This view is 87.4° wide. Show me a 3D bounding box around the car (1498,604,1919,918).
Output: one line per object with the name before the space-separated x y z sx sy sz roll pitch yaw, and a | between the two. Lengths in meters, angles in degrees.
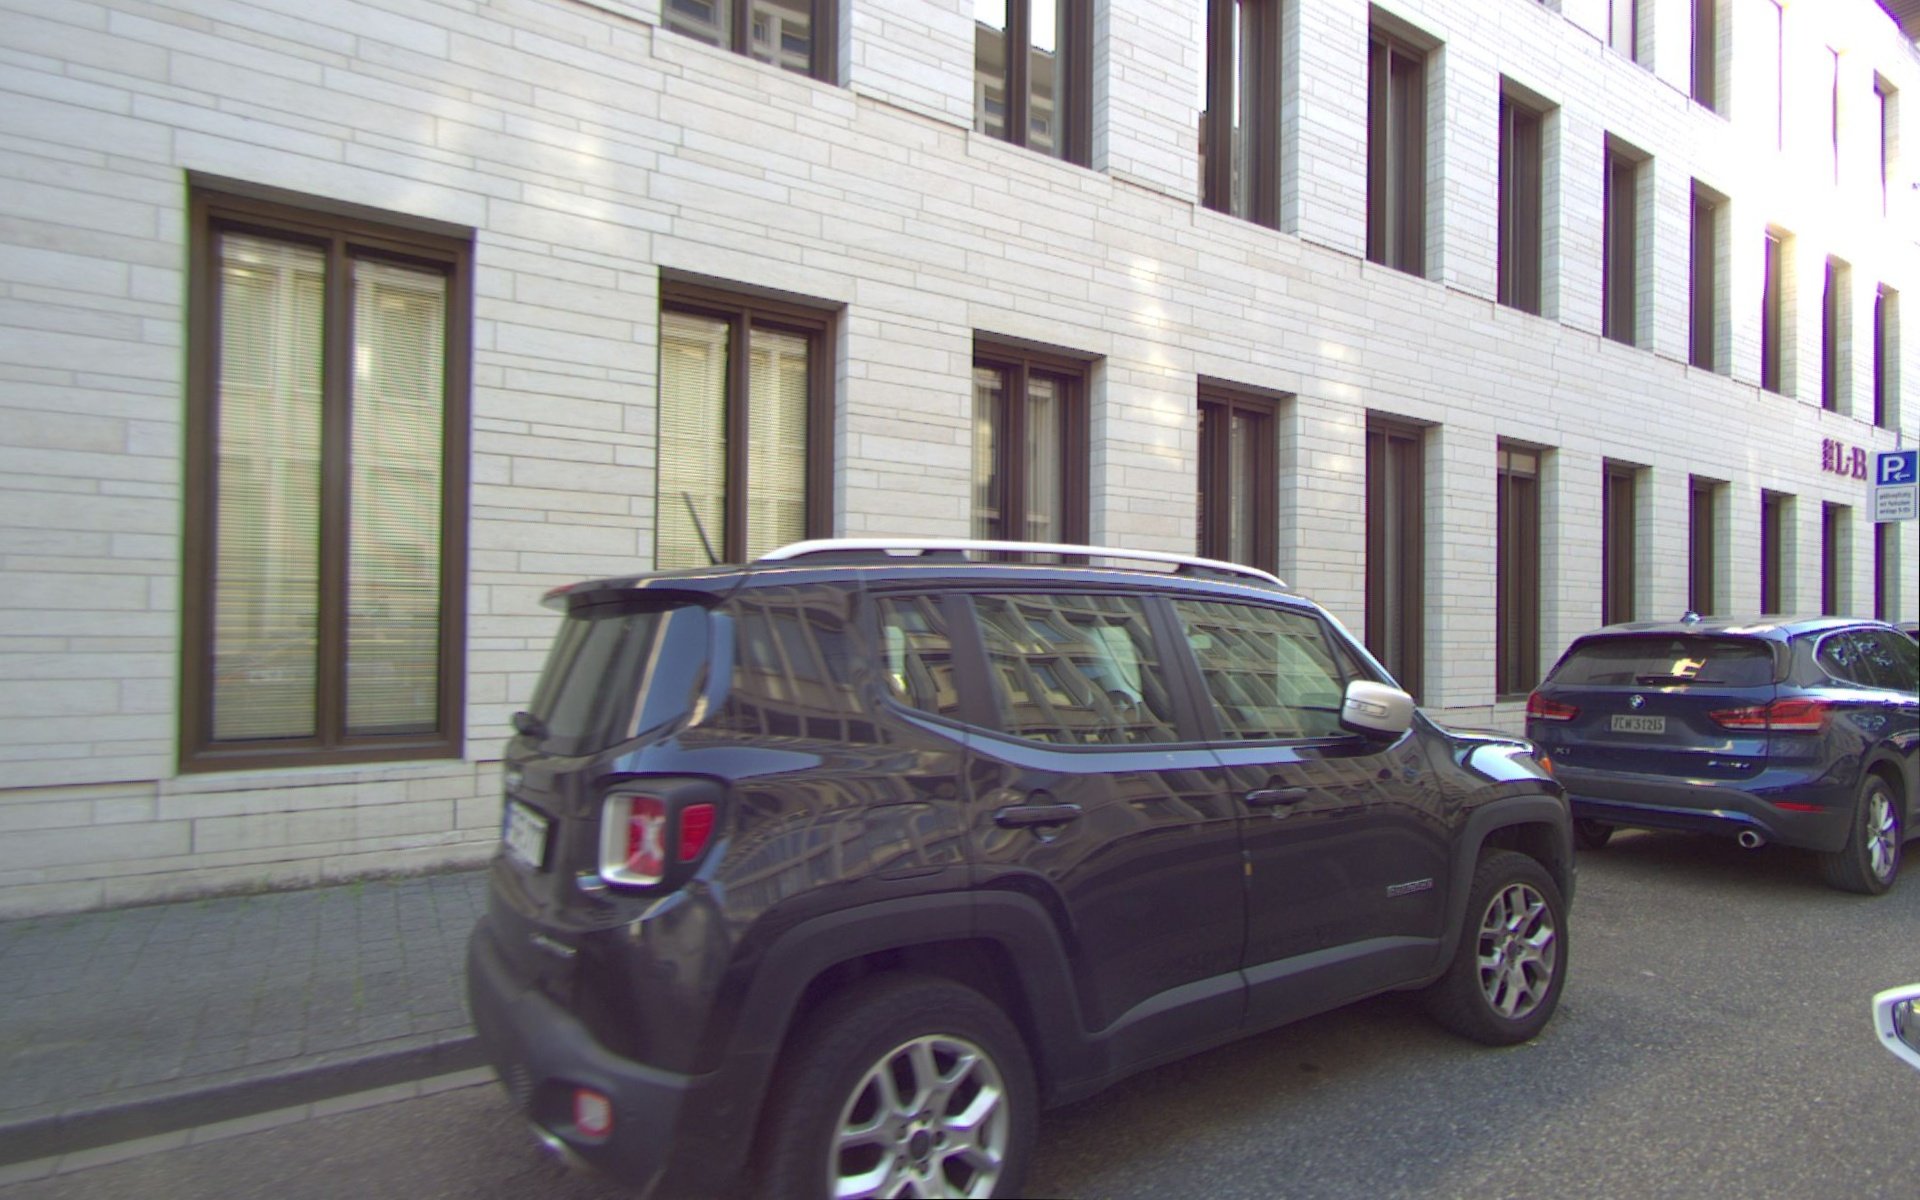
car | 5.772 0.907 7.053 4.109 1.615 1.730 1 -3 -33

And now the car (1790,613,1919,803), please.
car | 10.401 1.002 10.151 4.216 1.699 1.813 1 -3 -32

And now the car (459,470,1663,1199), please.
car | 0.534 0.722 3.559 3.974 1.737 1.812 1 -3 -33
